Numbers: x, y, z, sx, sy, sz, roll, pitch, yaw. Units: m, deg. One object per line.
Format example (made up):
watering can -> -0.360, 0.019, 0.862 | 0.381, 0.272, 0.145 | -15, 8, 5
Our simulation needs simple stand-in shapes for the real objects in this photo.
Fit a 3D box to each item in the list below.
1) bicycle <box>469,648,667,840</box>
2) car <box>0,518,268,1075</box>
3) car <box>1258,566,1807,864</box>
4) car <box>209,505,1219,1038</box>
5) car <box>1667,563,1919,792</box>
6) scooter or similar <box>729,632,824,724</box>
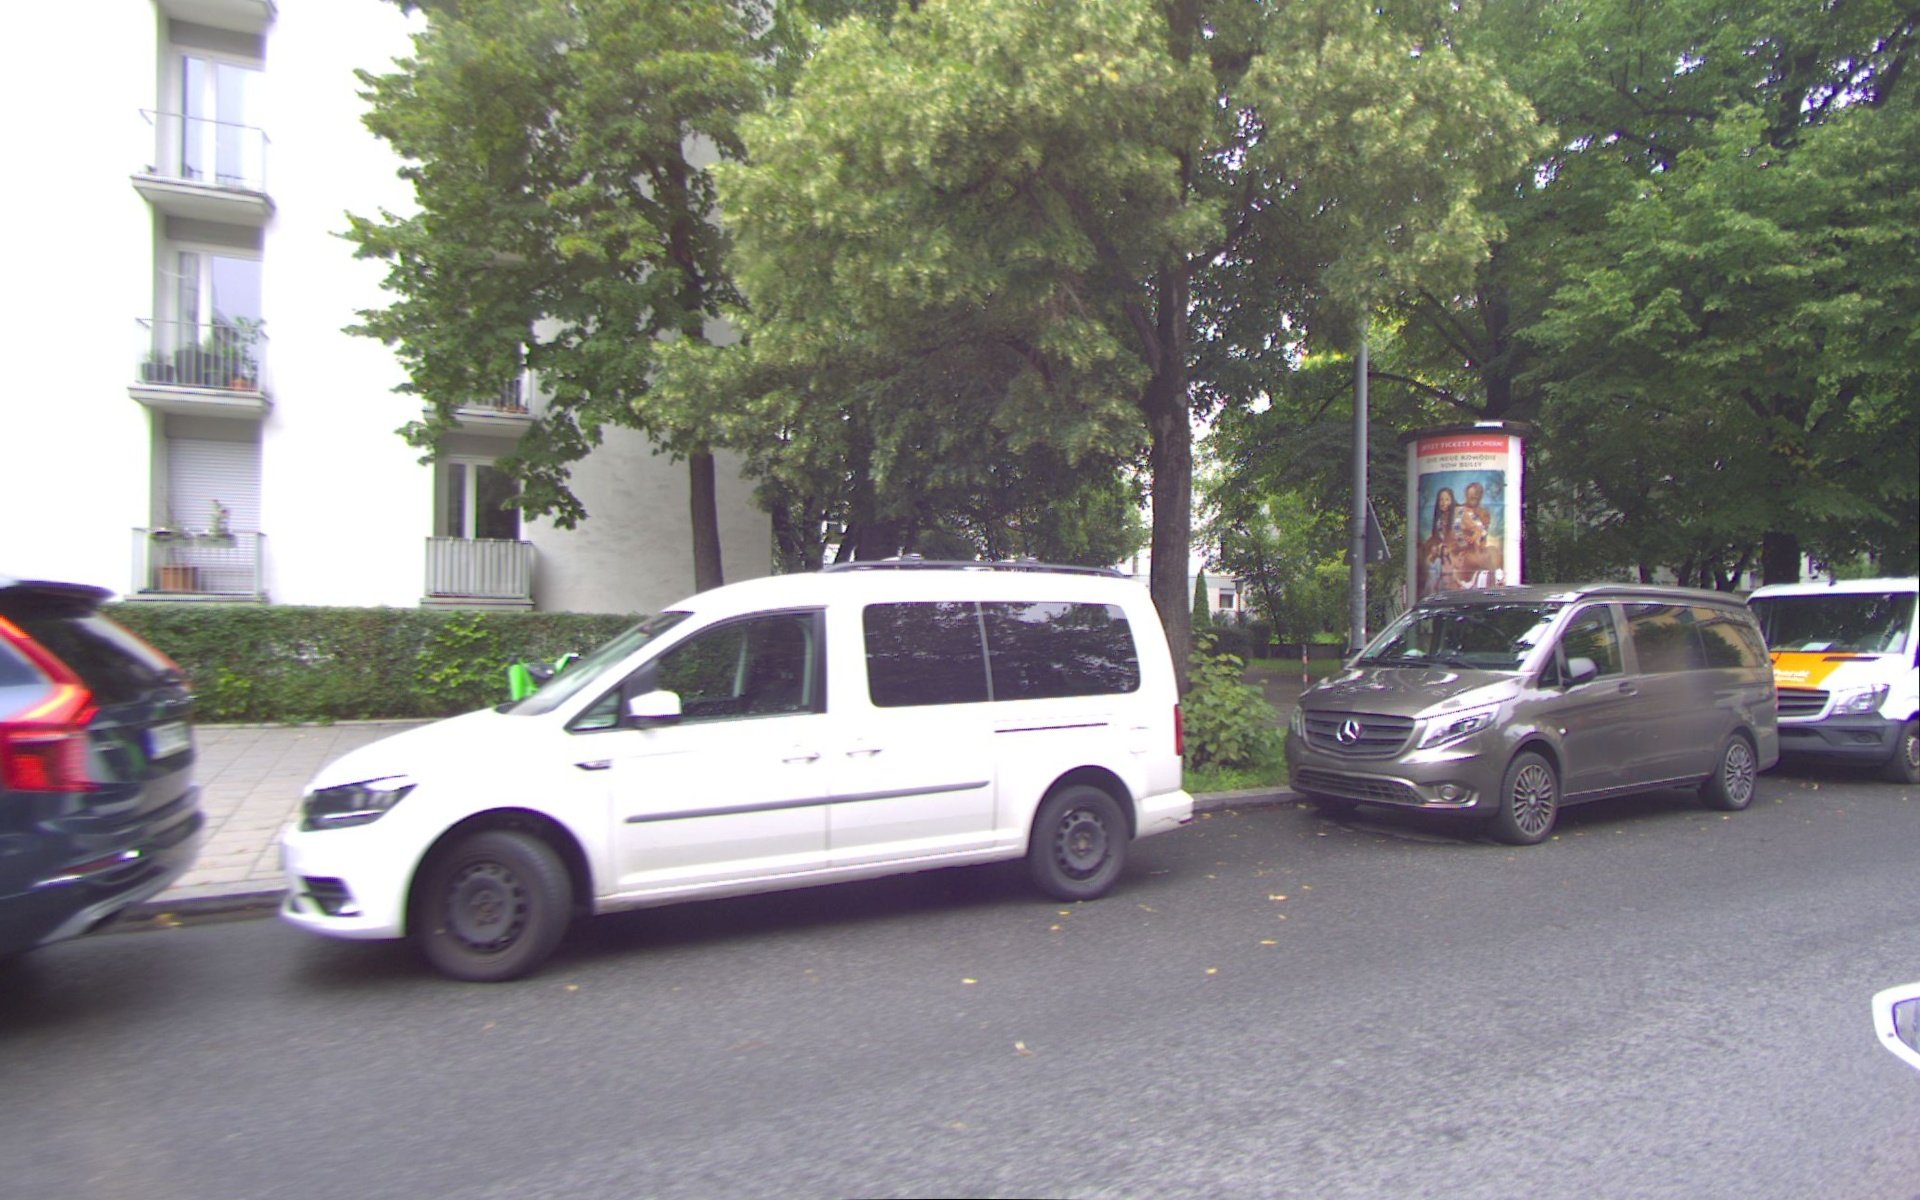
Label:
bicycle -> -2.820, 0.946, 7.128 | 1.804, 1.164, 0.535 | -1, -2, 42
car -> -5.387, 0.632, 3.278 | 4.849, 1.815, 1.987 | 1, -3, -26
car -> 5.128, 0.856, 8.770 | 5.148, 1.958, 1.878 | 2, -3, -31
car -> -1.012, 0.711, 5.611 | 4.787, 1.943, 1.823 | 1, -3, -27
car -> 11.090, 0.877, 12.259 | 5.179, 2.302, 1.939 | 2, -3, -29
scooter or similar -> -2.500, 1.046, 13.670 | 1.198, 1.209, 0.398 | 1, -2, -24
